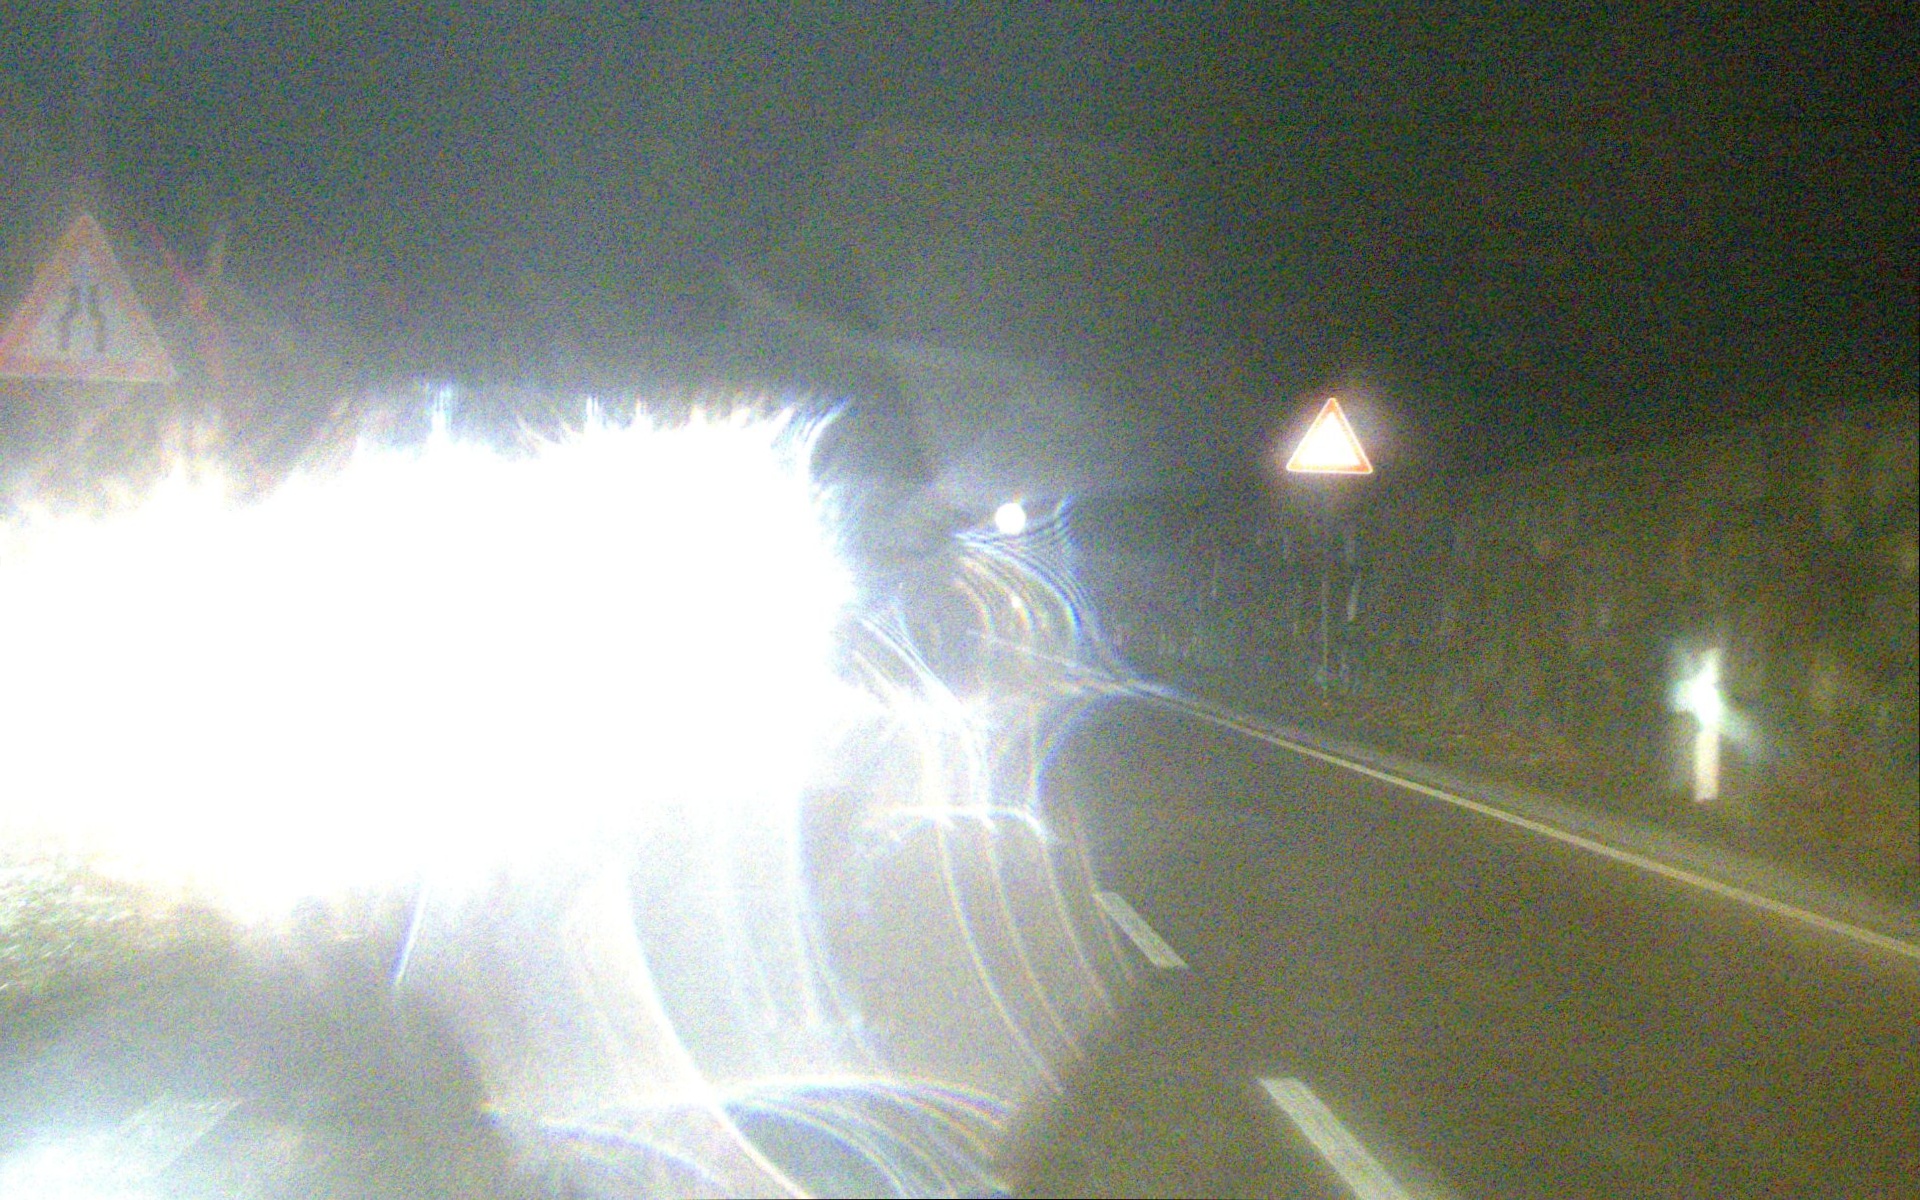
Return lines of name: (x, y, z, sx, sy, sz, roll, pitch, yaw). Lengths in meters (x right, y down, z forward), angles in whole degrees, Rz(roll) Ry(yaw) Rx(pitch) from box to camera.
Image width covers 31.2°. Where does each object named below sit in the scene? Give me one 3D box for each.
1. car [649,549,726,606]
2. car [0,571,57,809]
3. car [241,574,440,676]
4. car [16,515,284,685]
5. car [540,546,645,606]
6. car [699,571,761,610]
car: (-9.163, -0.786, 115.953, 1.993, 1.858, 5.319, 0, 1, 2)
car: (-7.269, 0.576, 21.859, 1.956, 1.565, 4.467, 1, 0, -1)
car: (-10.126, 0.376, 56.600, 2.182, 1.553, 5.204, 0, 1, 2)
car: (-10.209, -0.035, 43.729, 2.154, 2.007, 4.995, 1, 1, 1)
car: (-9.664, -0.651, 90.658, 2.083, 1.537, 4.898, 0, 1, 2)
car: (-9.727, -0.424, 145.680, 2.110, 1.570, 4.679, 1, 1, 2)
